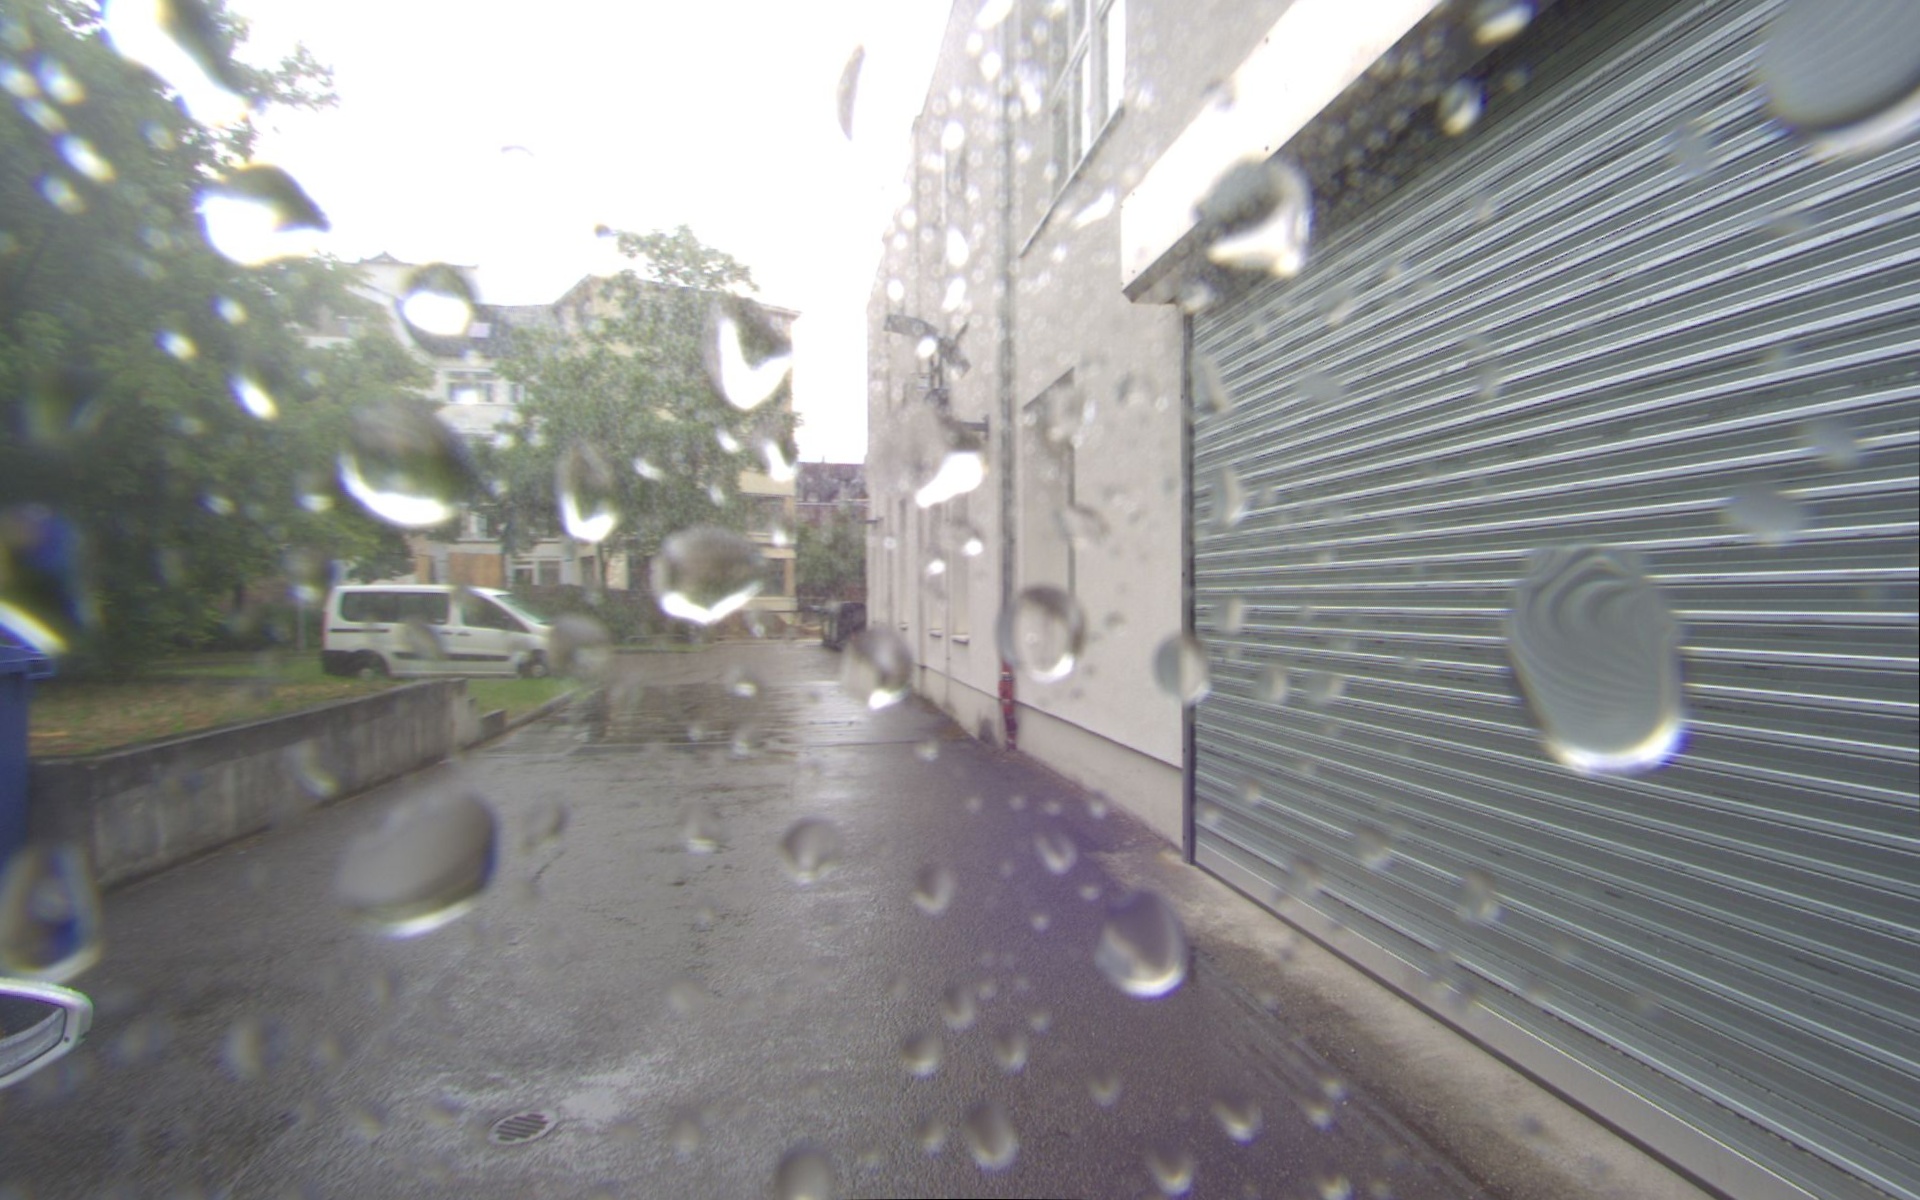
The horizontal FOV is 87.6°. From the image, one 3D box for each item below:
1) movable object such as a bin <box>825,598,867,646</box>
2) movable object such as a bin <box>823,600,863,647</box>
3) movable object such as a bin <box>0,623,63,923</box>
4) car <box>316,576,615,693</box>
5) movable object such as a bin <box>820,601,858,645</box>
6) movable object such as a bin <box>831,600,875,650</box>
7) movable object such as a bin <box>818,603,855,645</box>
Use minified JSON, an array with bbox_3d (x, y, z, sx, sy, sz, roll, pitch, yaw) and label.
[{"bbox_3d":[-3.586,0.695,31.351,1.196,1.455,1.294,0,-2,-11],"label":"movable object such as a bin"},{"bbox_3d":[-3.856,0.783,32.957,1.196,1.487,1.235,0,-2,-12],"label":"movable object such as a bin"},{"bbox_3d":[-4.951,0.795,4.345,1.202,1.355,1.005,0,1,-9],"label":"movable object such as a bin"},{"bbox_3d":[-9.292,0.596,19.217,4.705,2.041,1.998,-1,1,-9],"label":"car"},{"bbox_3d":[-4.149,0.803,34.302,1.196,1.455,1.258,0,-2,-11],"label":"movable object such as a bin"},{"bbox_3d":[-3.181,0.743,29.702,1.196,1.455,1.235,0,-2,-12],"label":"movable object such as a bin"},{"bbox_3d":[-4.404,0.858,35.656,1.196,1.455,1.258,0,-2,-11],"label":"movable object such as a bin"}]
